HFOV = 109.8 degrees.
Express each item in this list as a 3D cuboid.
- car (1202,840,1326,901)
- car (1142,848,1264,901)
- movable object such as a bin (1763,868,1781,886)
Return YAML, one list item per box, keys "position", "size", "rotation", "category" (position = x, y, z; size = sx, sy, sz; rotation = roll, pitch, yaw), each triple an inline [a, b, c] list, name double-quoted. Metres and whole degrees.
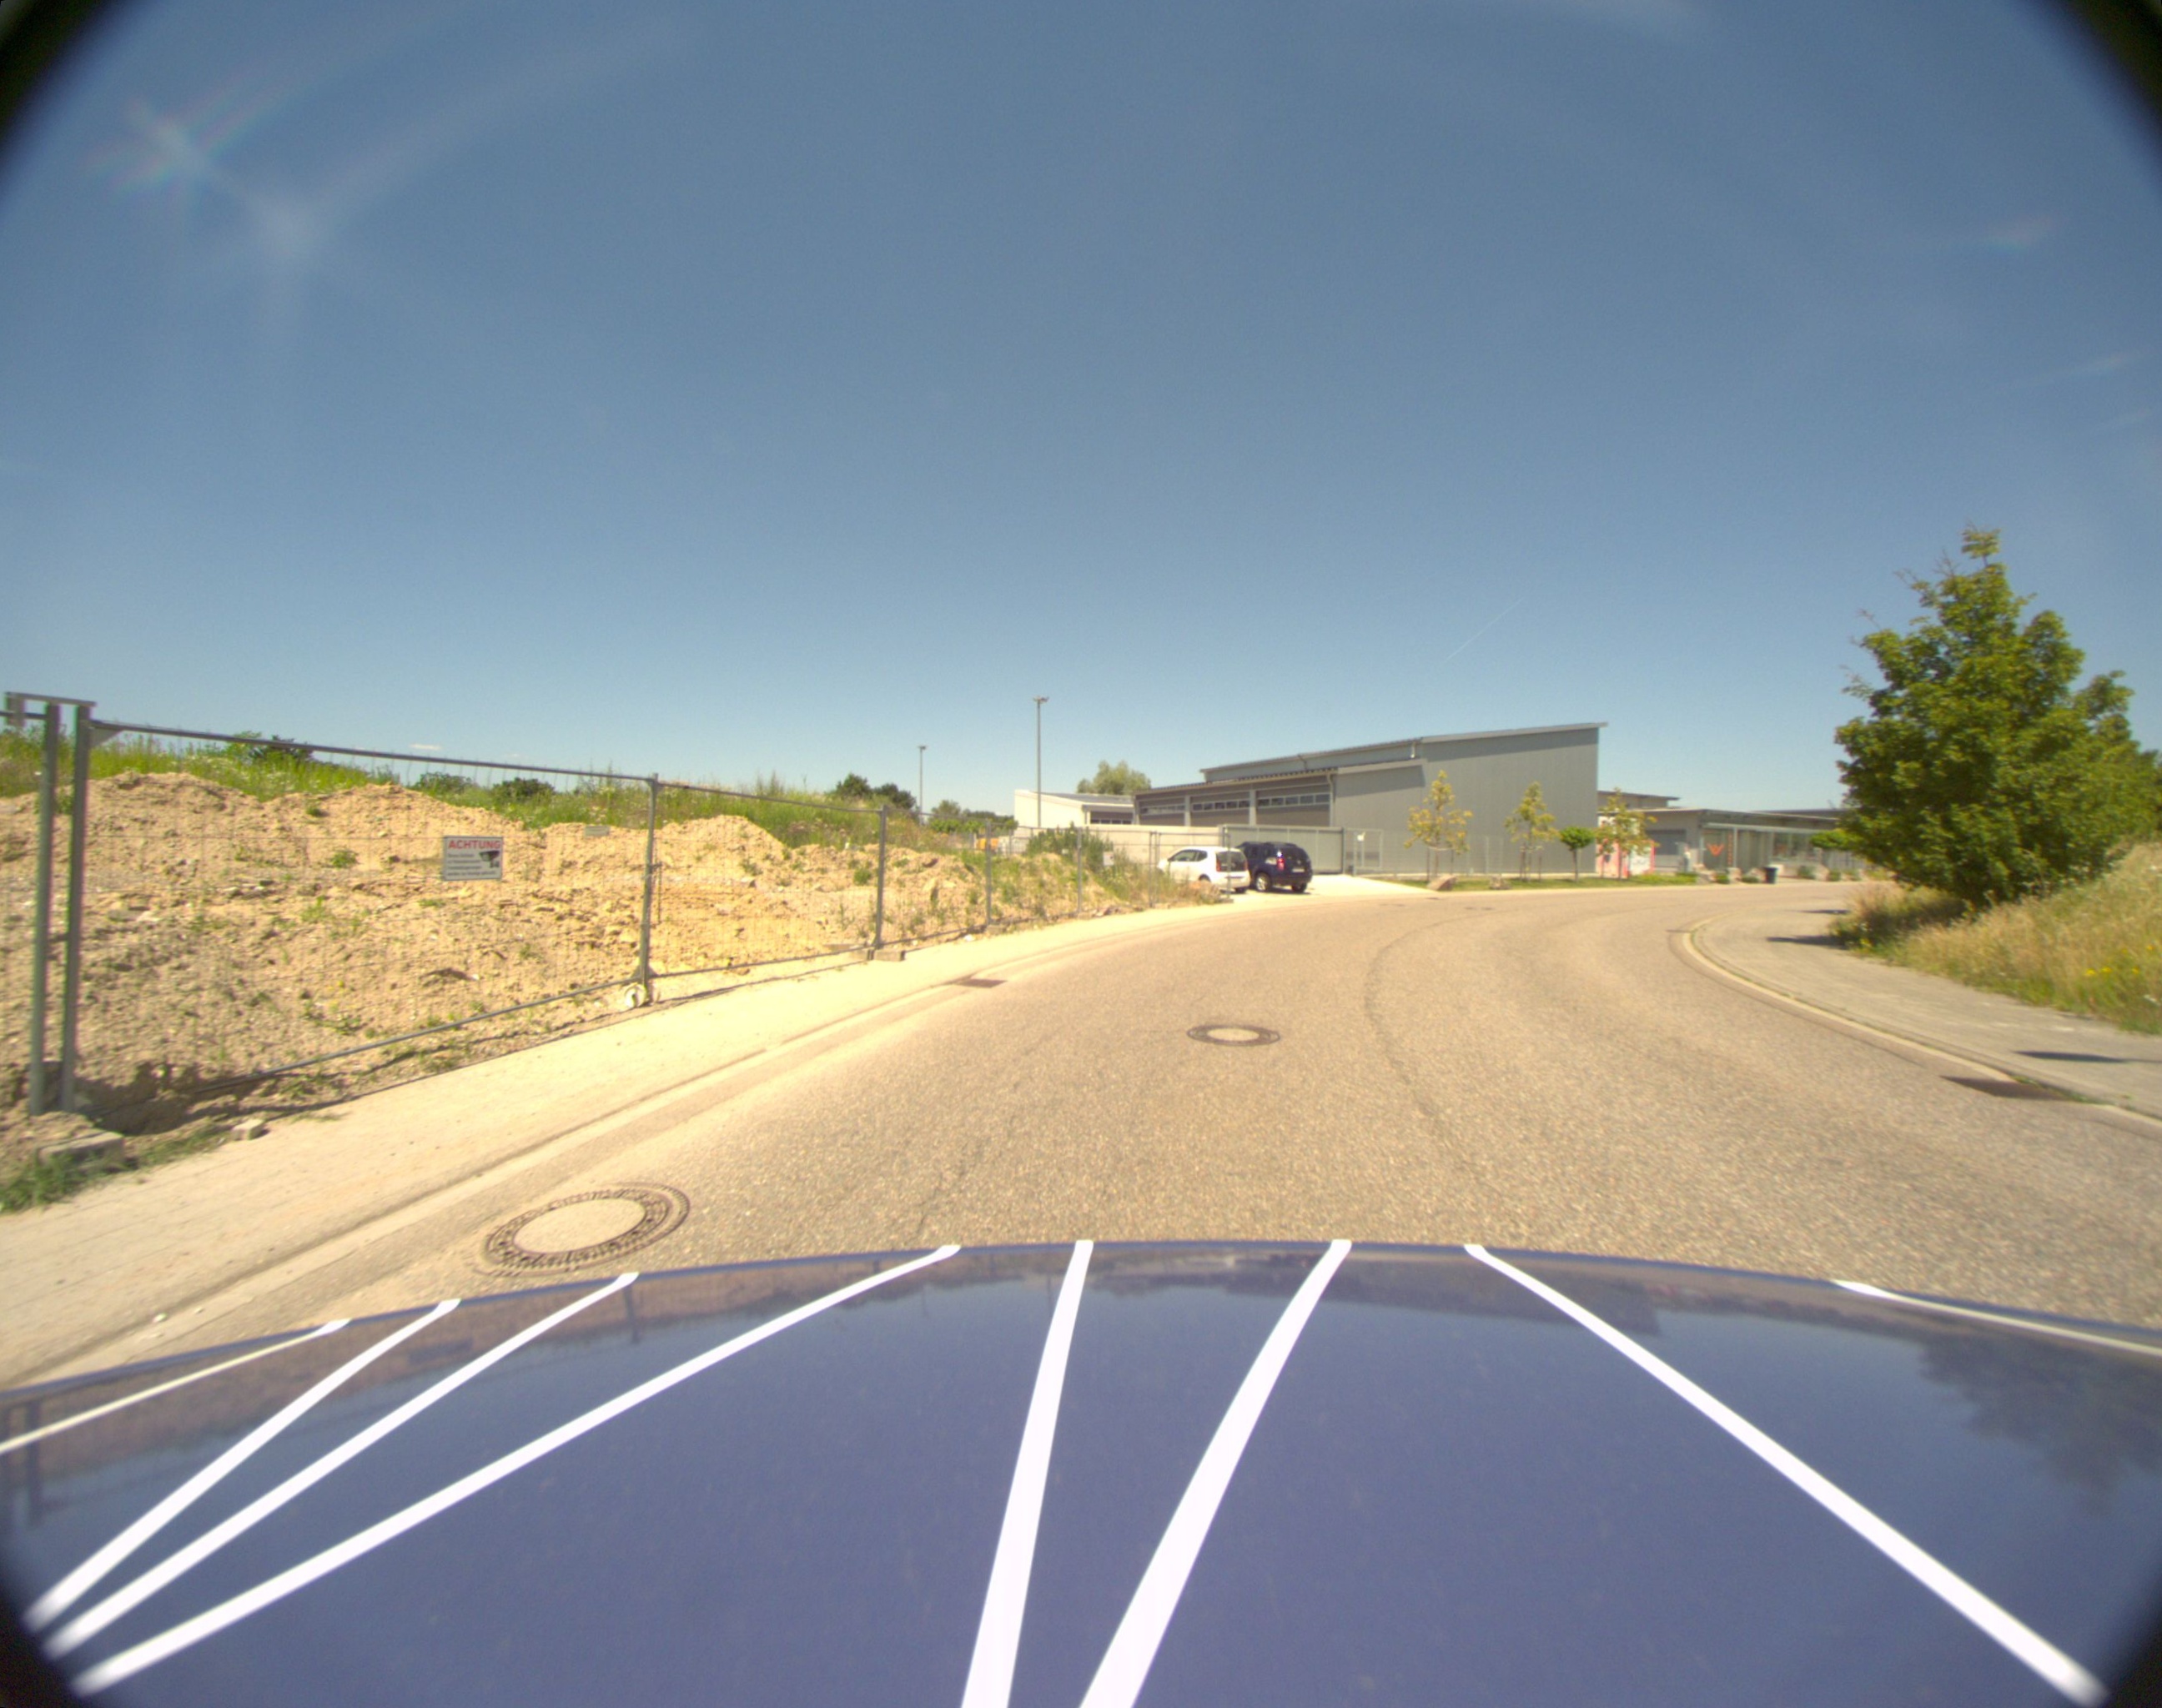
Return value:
- position: [6.235, 0.501, 26.361]
  size: [1.861, 1.647, 4.010]
  rotation: [1, 5, -28]
  category: "car"
- position: [3.985, 0.620, 25.489]
  size: [1.896, 1.454, 4.011]
  rotation: [1, 3, -29]
  category: "car"
- position: [37.676, 1.244, 41.415]
  size: [0.540, 0.941, 0.559]
  rotation: [0, 2, -29]
  category: "movable object such as a bin"
